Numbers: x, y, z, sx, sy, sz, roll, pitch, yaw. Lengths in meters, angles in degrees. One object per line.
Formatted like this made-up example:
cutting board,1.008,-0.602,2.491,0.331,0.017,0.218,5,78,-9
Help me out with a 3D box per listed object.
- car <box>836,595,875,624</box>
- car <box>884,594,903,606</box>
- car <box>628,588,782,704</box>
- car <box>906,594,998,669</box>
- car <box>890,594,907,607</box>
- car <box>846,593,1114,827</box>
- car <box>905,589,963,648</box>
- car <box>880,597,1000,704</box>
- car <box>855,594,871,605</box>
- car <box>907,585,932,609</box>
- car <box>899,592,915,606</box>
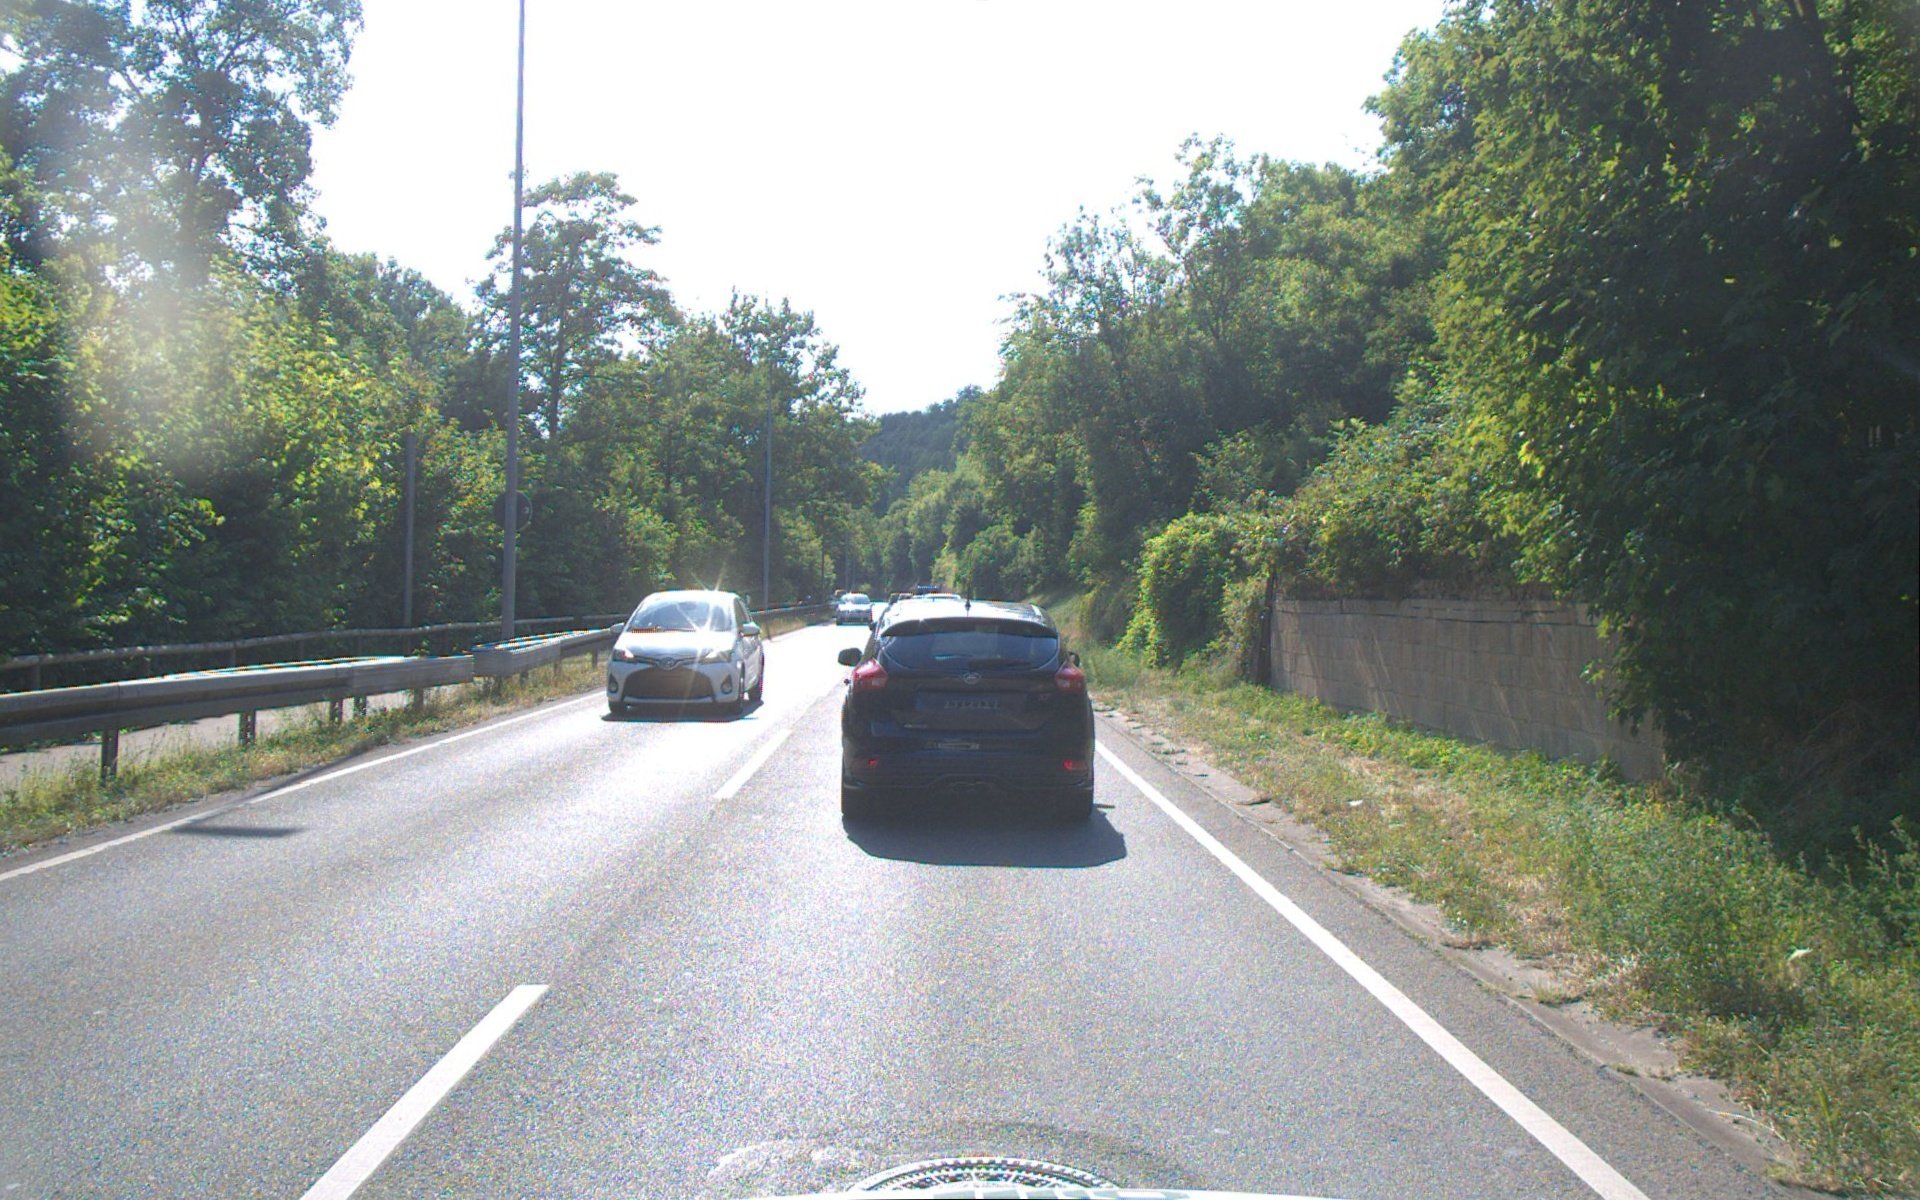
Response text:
car,-5.138,0.451,81.479,1.739,1.412,3.999,0,0,-1
car,-8.234,-0.004,205.711,1.956,1.545,3.992,0,0,-8
car,-3.536,0.586,23.597,1.647,1.489,4.196,1,0,-2
car,-0.187,0.601,33.795,1.768,1.416,3.999,0,0,-1
car,-7.276,0.019,195.502,1.954,1.545,3.997,0,0,-4
car,0.099,0.707,12.562,1.704,1.482,3.999,1,0,-1
car,-0.748,0.507,47.851,1.597,1.624,3.999,0,0,-1
car,-0.255,0.681,24.605,1.627,1.443,4.000,0,0,0
car,-13.935,-0.114,237.368,1.956,1.545,3.993,0,0,-8
car,-3.100,-0.240,126.306,1.826,1.812,3.998,0,0,-3
car,-5.847,-0.139,182.996,1.782,1.545,3.999,0,0,-1
